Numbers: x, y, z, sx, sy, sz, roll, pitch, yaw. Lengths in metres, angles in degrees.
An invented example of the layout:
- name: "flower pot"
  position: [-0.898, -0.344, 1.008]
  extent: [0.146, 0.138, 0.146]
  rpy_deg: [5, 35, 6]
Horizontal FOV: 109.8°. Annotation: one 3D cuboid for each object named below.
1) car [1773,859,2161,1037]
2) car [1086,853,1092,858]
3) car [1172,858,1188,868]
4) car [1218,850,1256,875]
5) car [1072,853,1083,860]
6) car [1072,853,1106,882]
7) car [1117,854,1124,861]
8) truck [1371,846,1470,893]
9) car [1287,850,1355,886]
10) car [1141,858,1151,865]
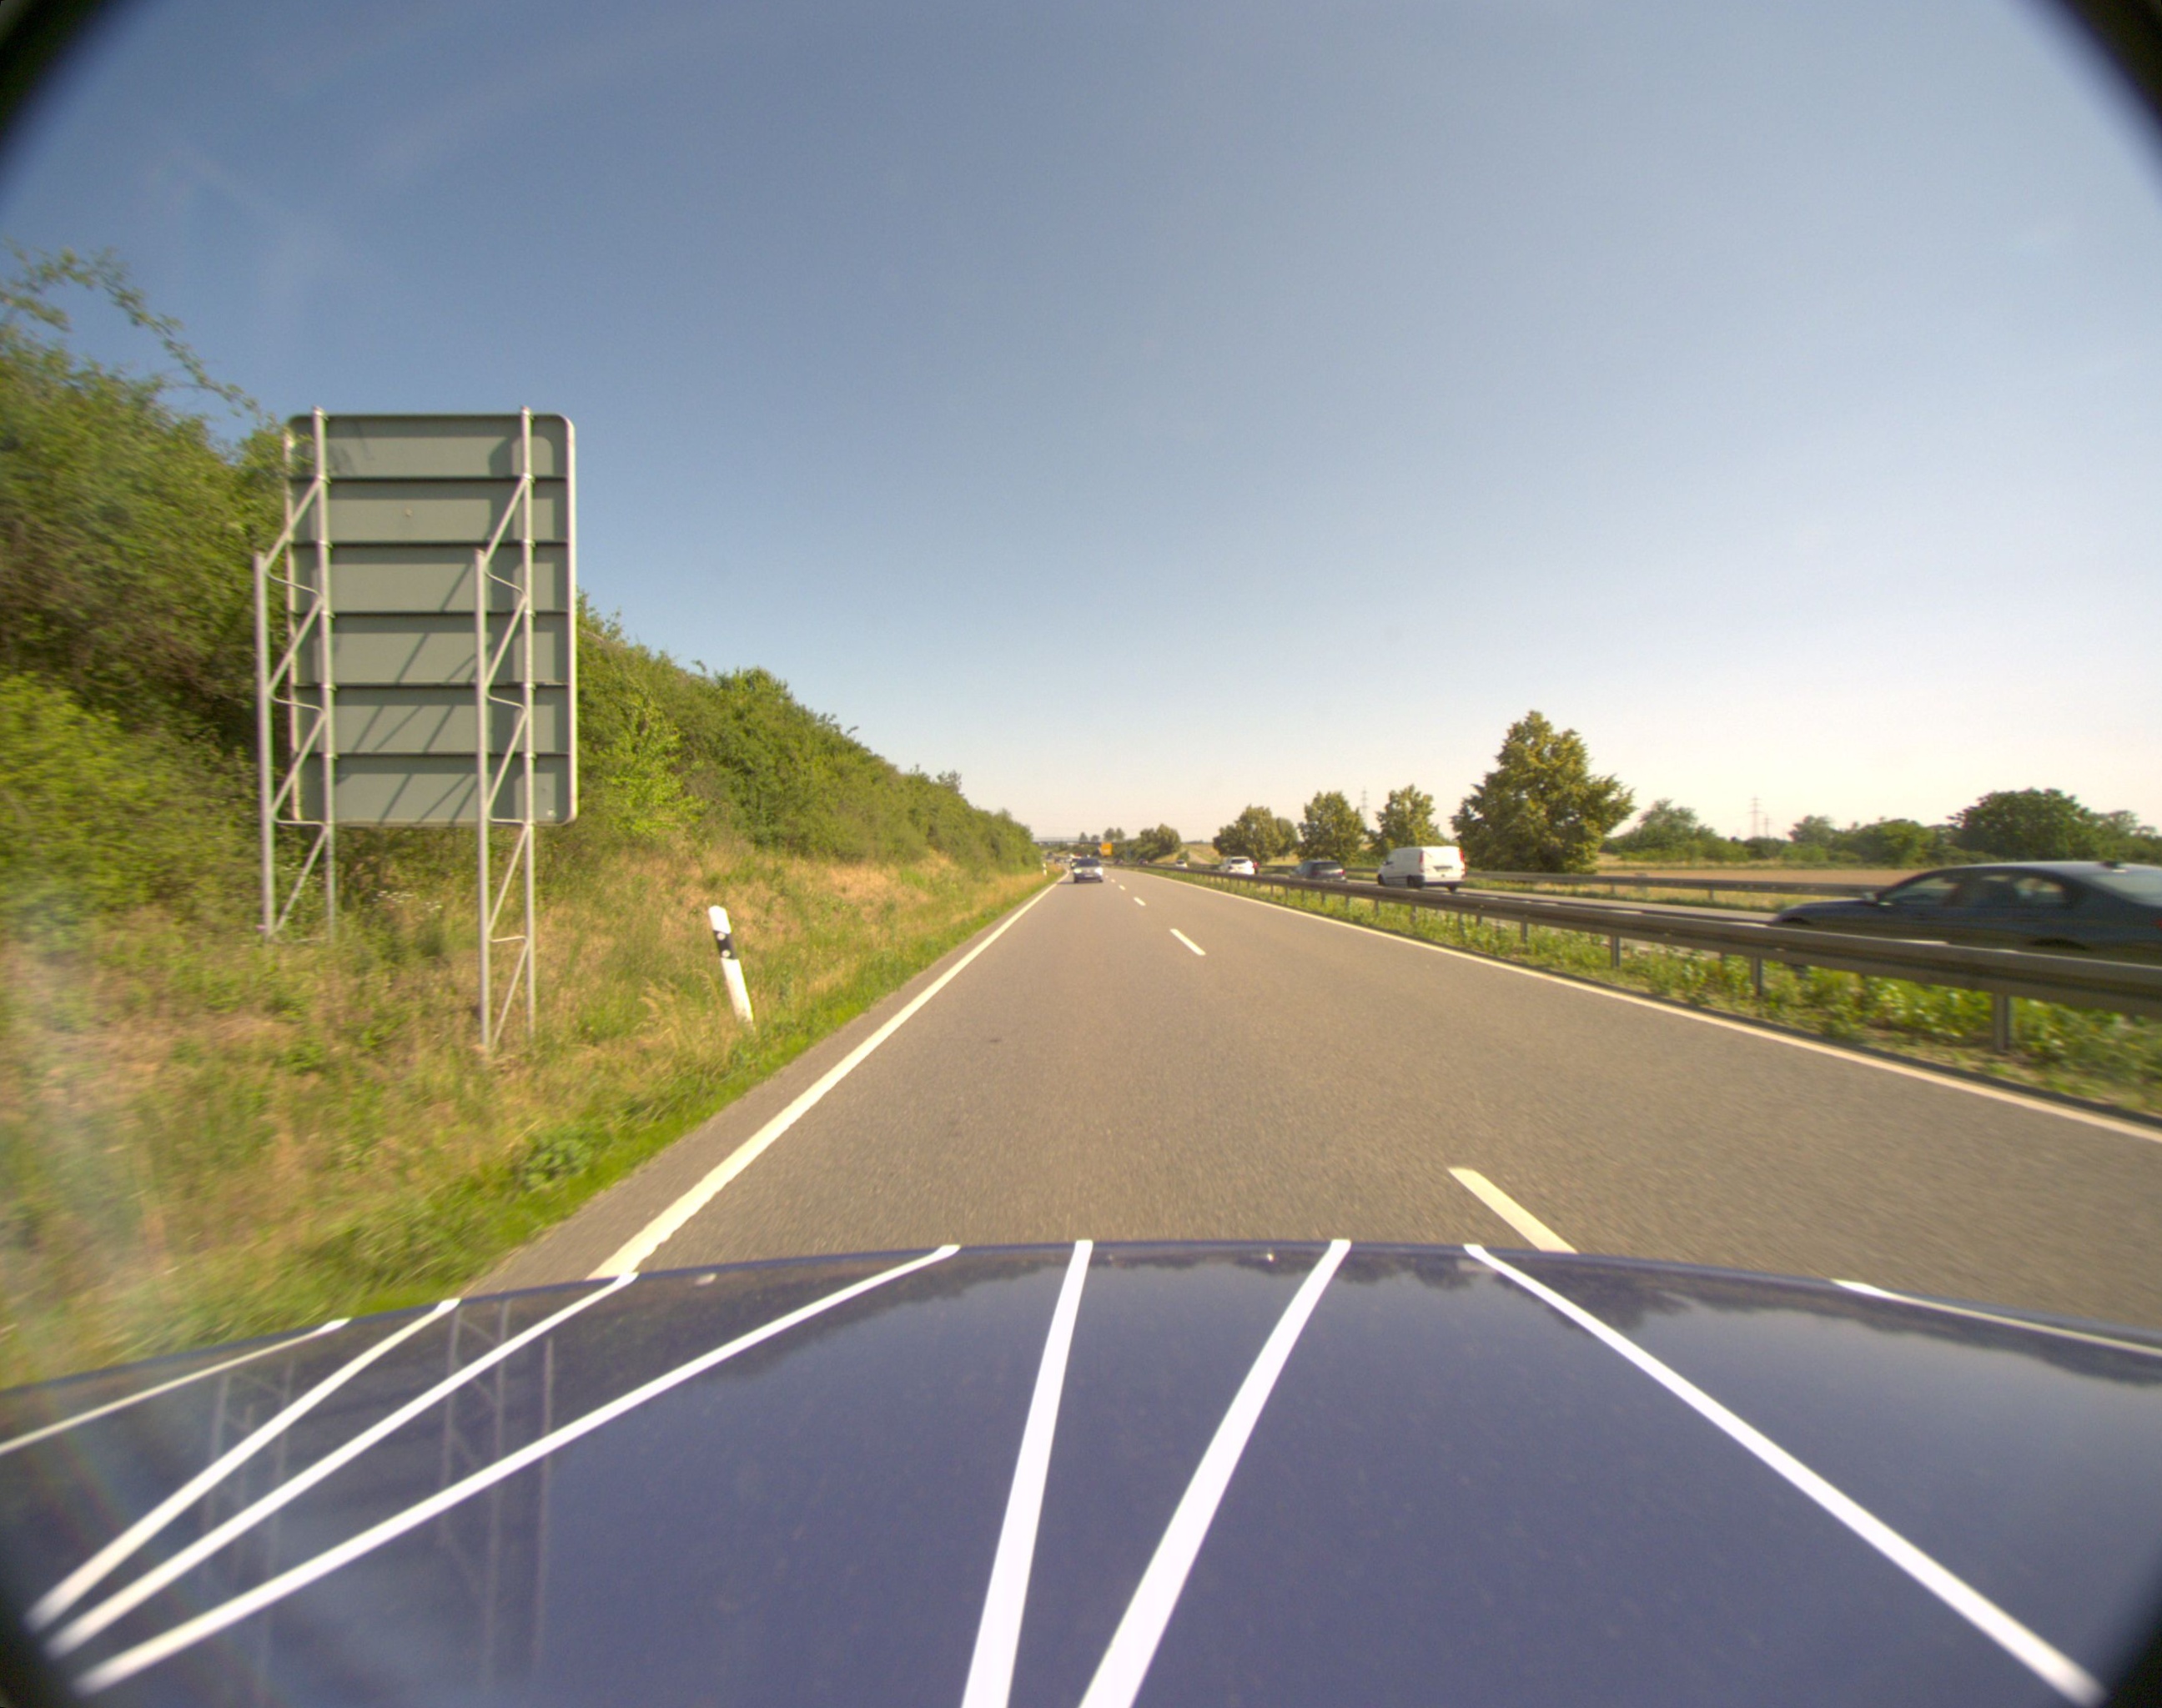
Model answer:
- name: "car"
  position: [10.630, 0.856, 8.491]
  extent: [1.817, 1.533, 4.454]
  rpy_deg: [-1, 0, 2]
- name: "car"
  position: [2.542, 0.559, 254.567]
  extent: [1.759, 1.524, 3.999]
  rpy_deg: [-3, 0, -3]
- name: "car"
  position: [14.489, 1.346, 111.306]
  extent: [1.695, 1.428, 3.939]
  rpy_deg: [-1, 0, -2]
- name: "car"
  position: [11.211, 0.562, 54.994]
  extent: [1.843, 1.655, 4.721]
  rpy_deg: [-2, 0, 1]
- name: "car"
  position: [-0.569, 0.440, 131.018]
  extent: [1.790, 1.212, 3.999]
  rpy_deg: [-1, 1, 0]
- name: "car"
  position: [0.527, 0.809, 47.311]
  extent: [1.854, 1.635, 4.000]
  rpy_deg: [-2, 1, 4]
- name: "car"
  position: [10.261, 0.916, 196.761]
  extent: [1.656, 1.544, 4.561]
  rpy_deg: [-3, 0, 0]
- name: "truck"
  position: [14.591, 0.631, 32.995]
  extent: [1.927, 1.829, 5.292]
  rpy_deg: [-2, 0, 1]
- name: "car"
  position: [10.916, 0.624, 34.854]
  extent: [1.844, 1.438, 4.038]
  rpy_deg: [-3, 0, 1]
- name: "car"
  position: [13.434, 1.514, 156.748]
  extent: [1.694, 1.532, 4.244]
  rpy_deg: [-1, 0, 2]
